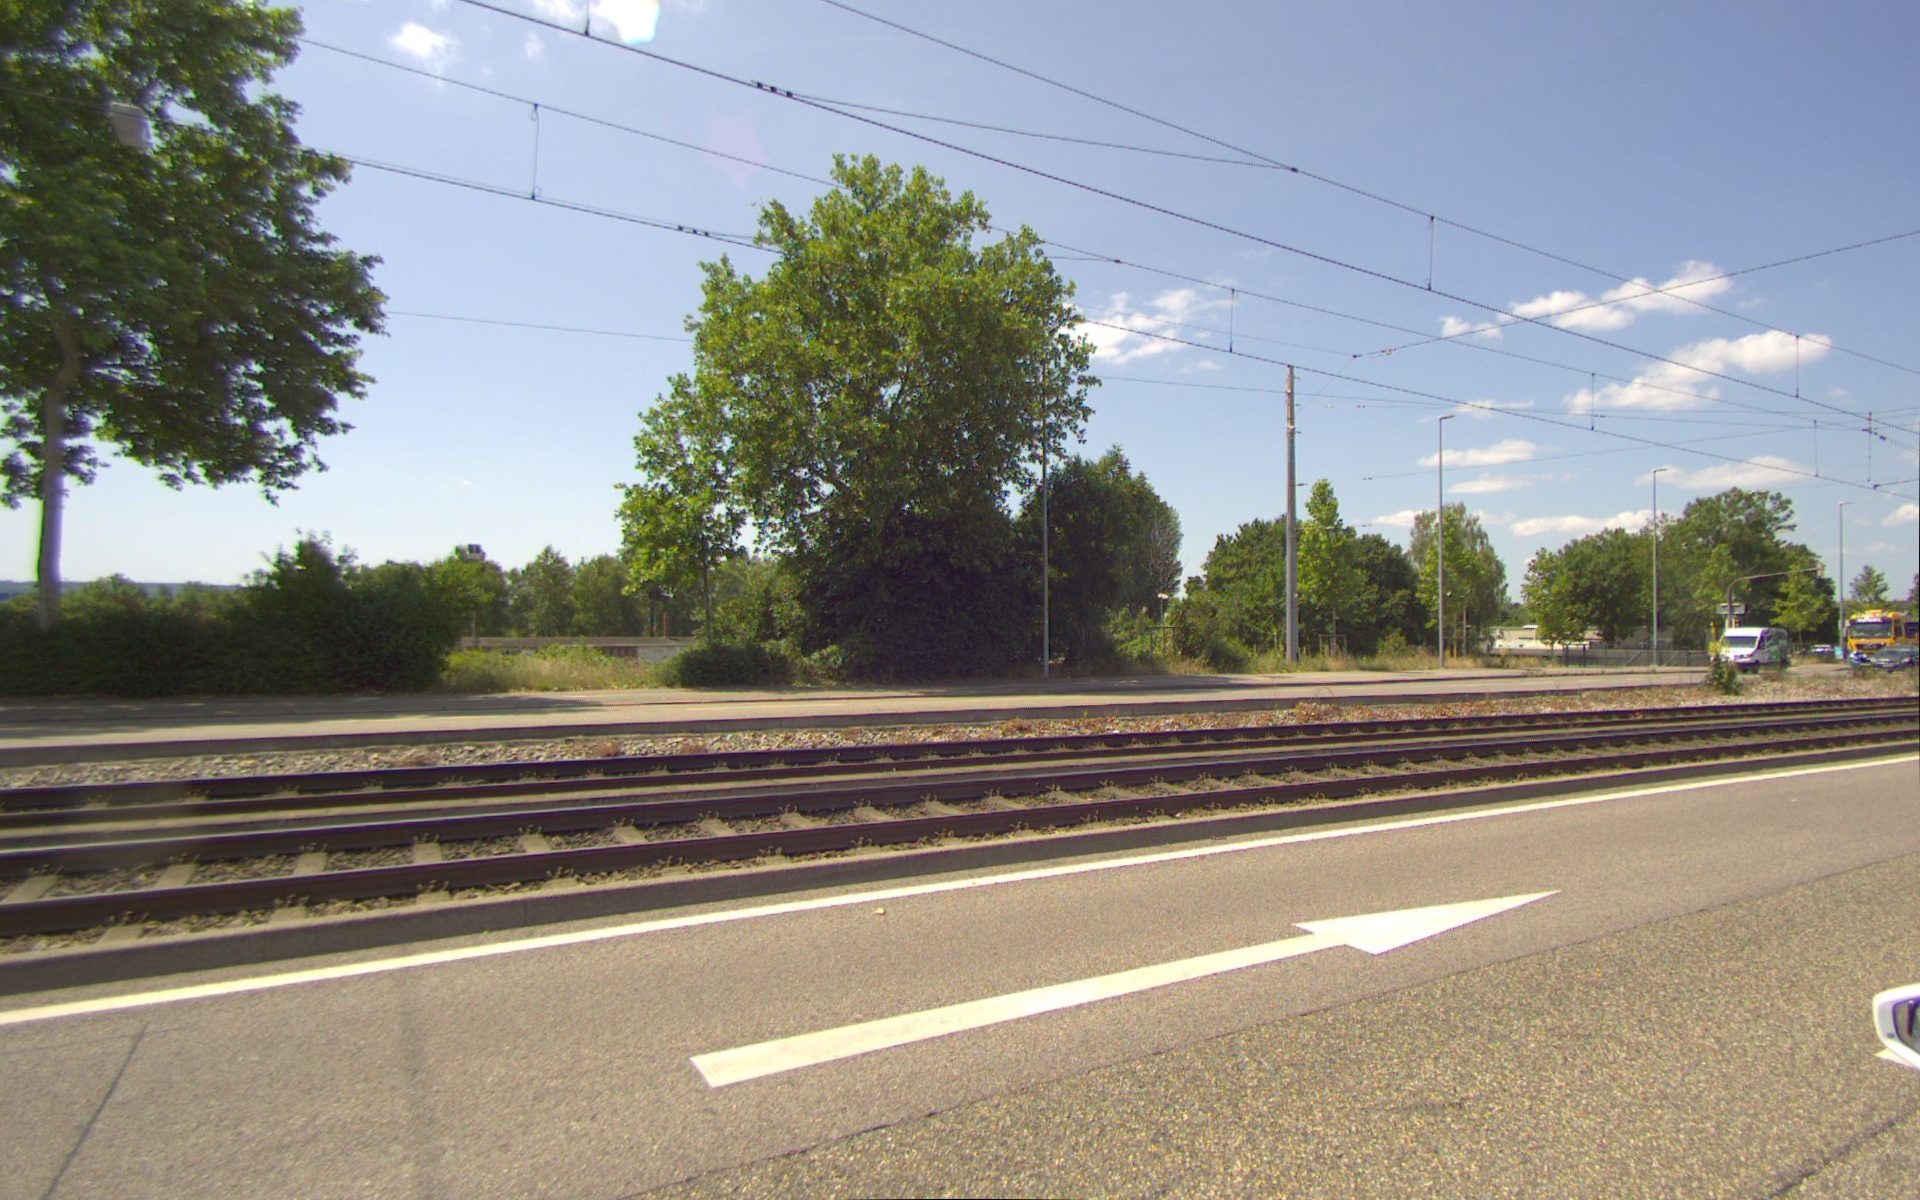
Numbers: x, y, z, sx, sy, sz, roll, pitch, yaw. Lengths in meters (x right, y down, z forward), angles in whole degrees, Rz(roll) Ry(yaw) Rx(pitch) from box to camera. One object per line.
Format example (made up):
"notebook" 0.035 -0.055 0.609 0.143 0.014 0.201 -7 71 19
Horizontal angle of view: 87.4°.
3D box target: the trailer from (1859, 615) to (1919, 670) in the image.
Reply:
"trailer" 68.545 3.005 71.031 15.693 3.565 2.754 2 -1 -31

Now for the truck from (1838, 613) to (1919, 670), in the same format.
"truck" 61.488 2.767 66.847 6.365 3.616 2.754 2 -1 -30

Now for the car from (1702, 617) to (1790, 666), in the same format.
"car" 44.473 2.357 56.791 6.174 2.622 2.228 1 -3 -36

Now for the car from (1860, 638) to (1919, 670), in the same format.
"car" 53.948 3.106 57.877 4.408 1.692 1.813 2 0 -30
